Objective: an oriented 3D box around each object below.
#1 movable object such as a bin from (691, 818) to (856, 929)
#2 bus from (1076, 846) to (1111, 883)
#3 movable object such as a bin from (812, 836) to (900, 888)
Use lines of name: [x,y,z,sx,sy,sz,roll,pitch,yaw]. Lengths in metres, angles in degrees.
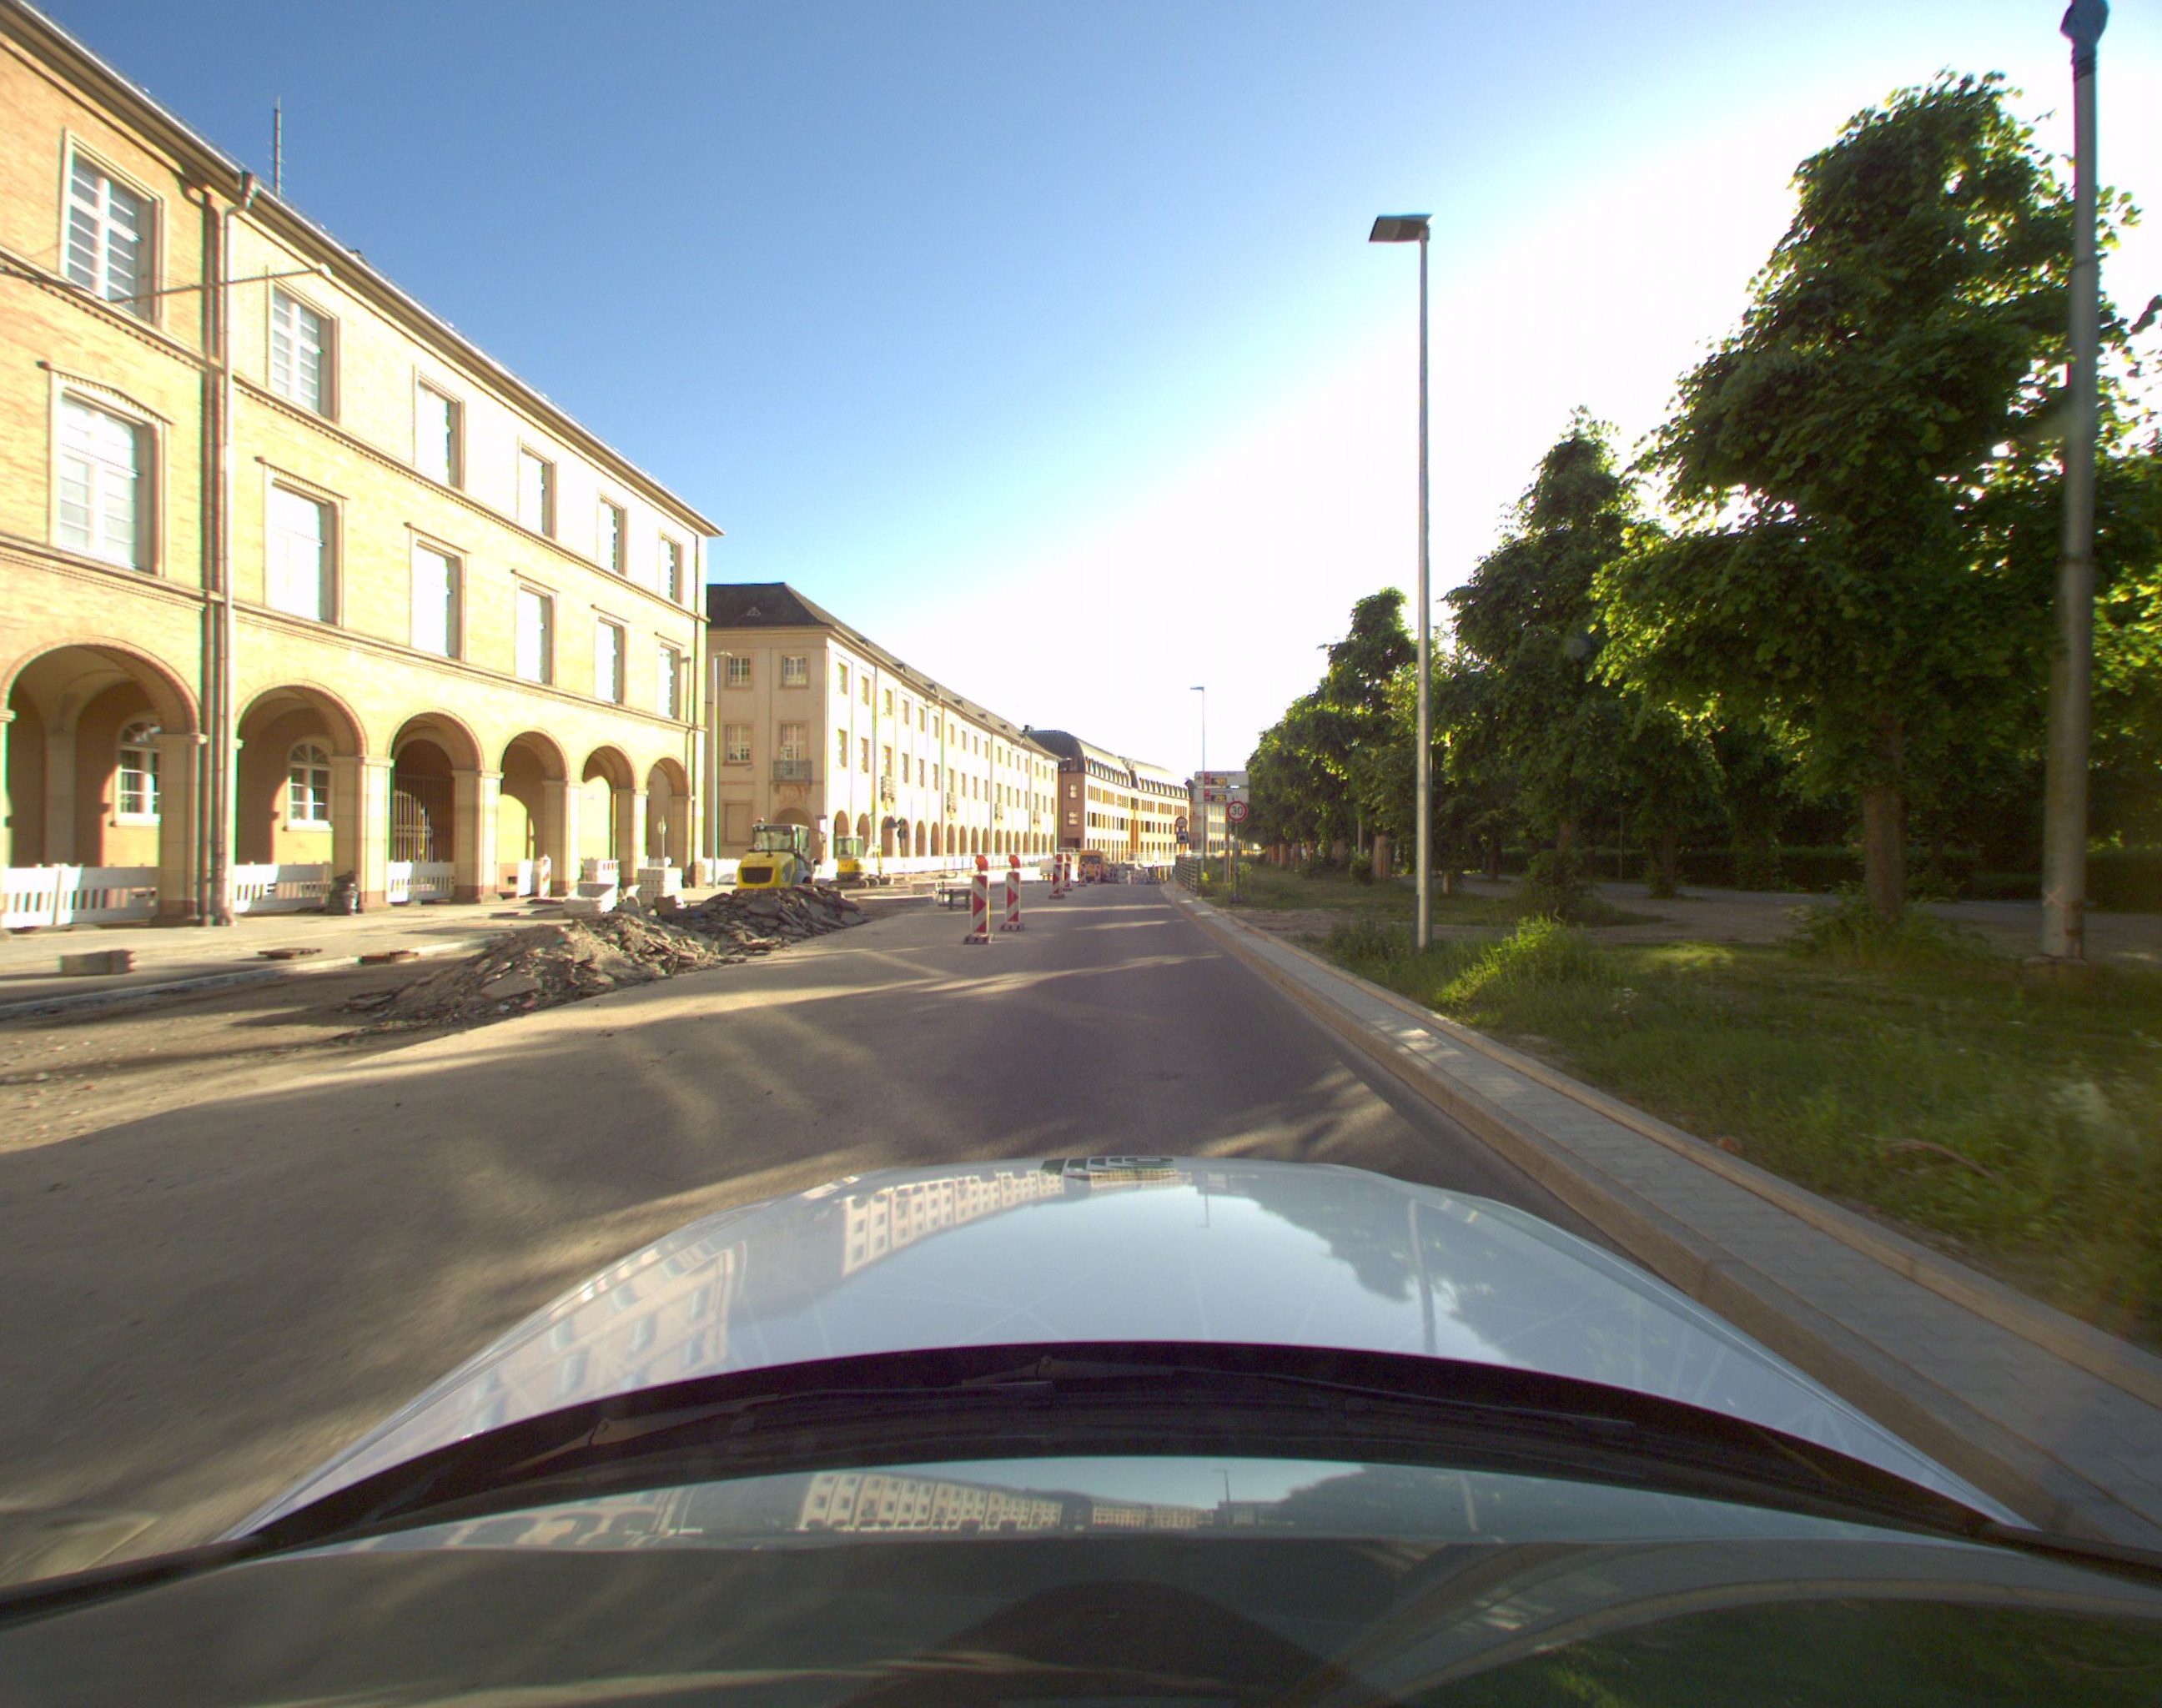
movable object such as a bin: [-7.538,0.388,20.564,2.064,2.475,4.624,0,1,5]
bus: [1.010,0.855,63.244,2.061,2.687,4.694,0,-2,9]
movable object such as a bin: [-10.711,0.355,39.195,2.532,2.348,4.469,0,0,7]
